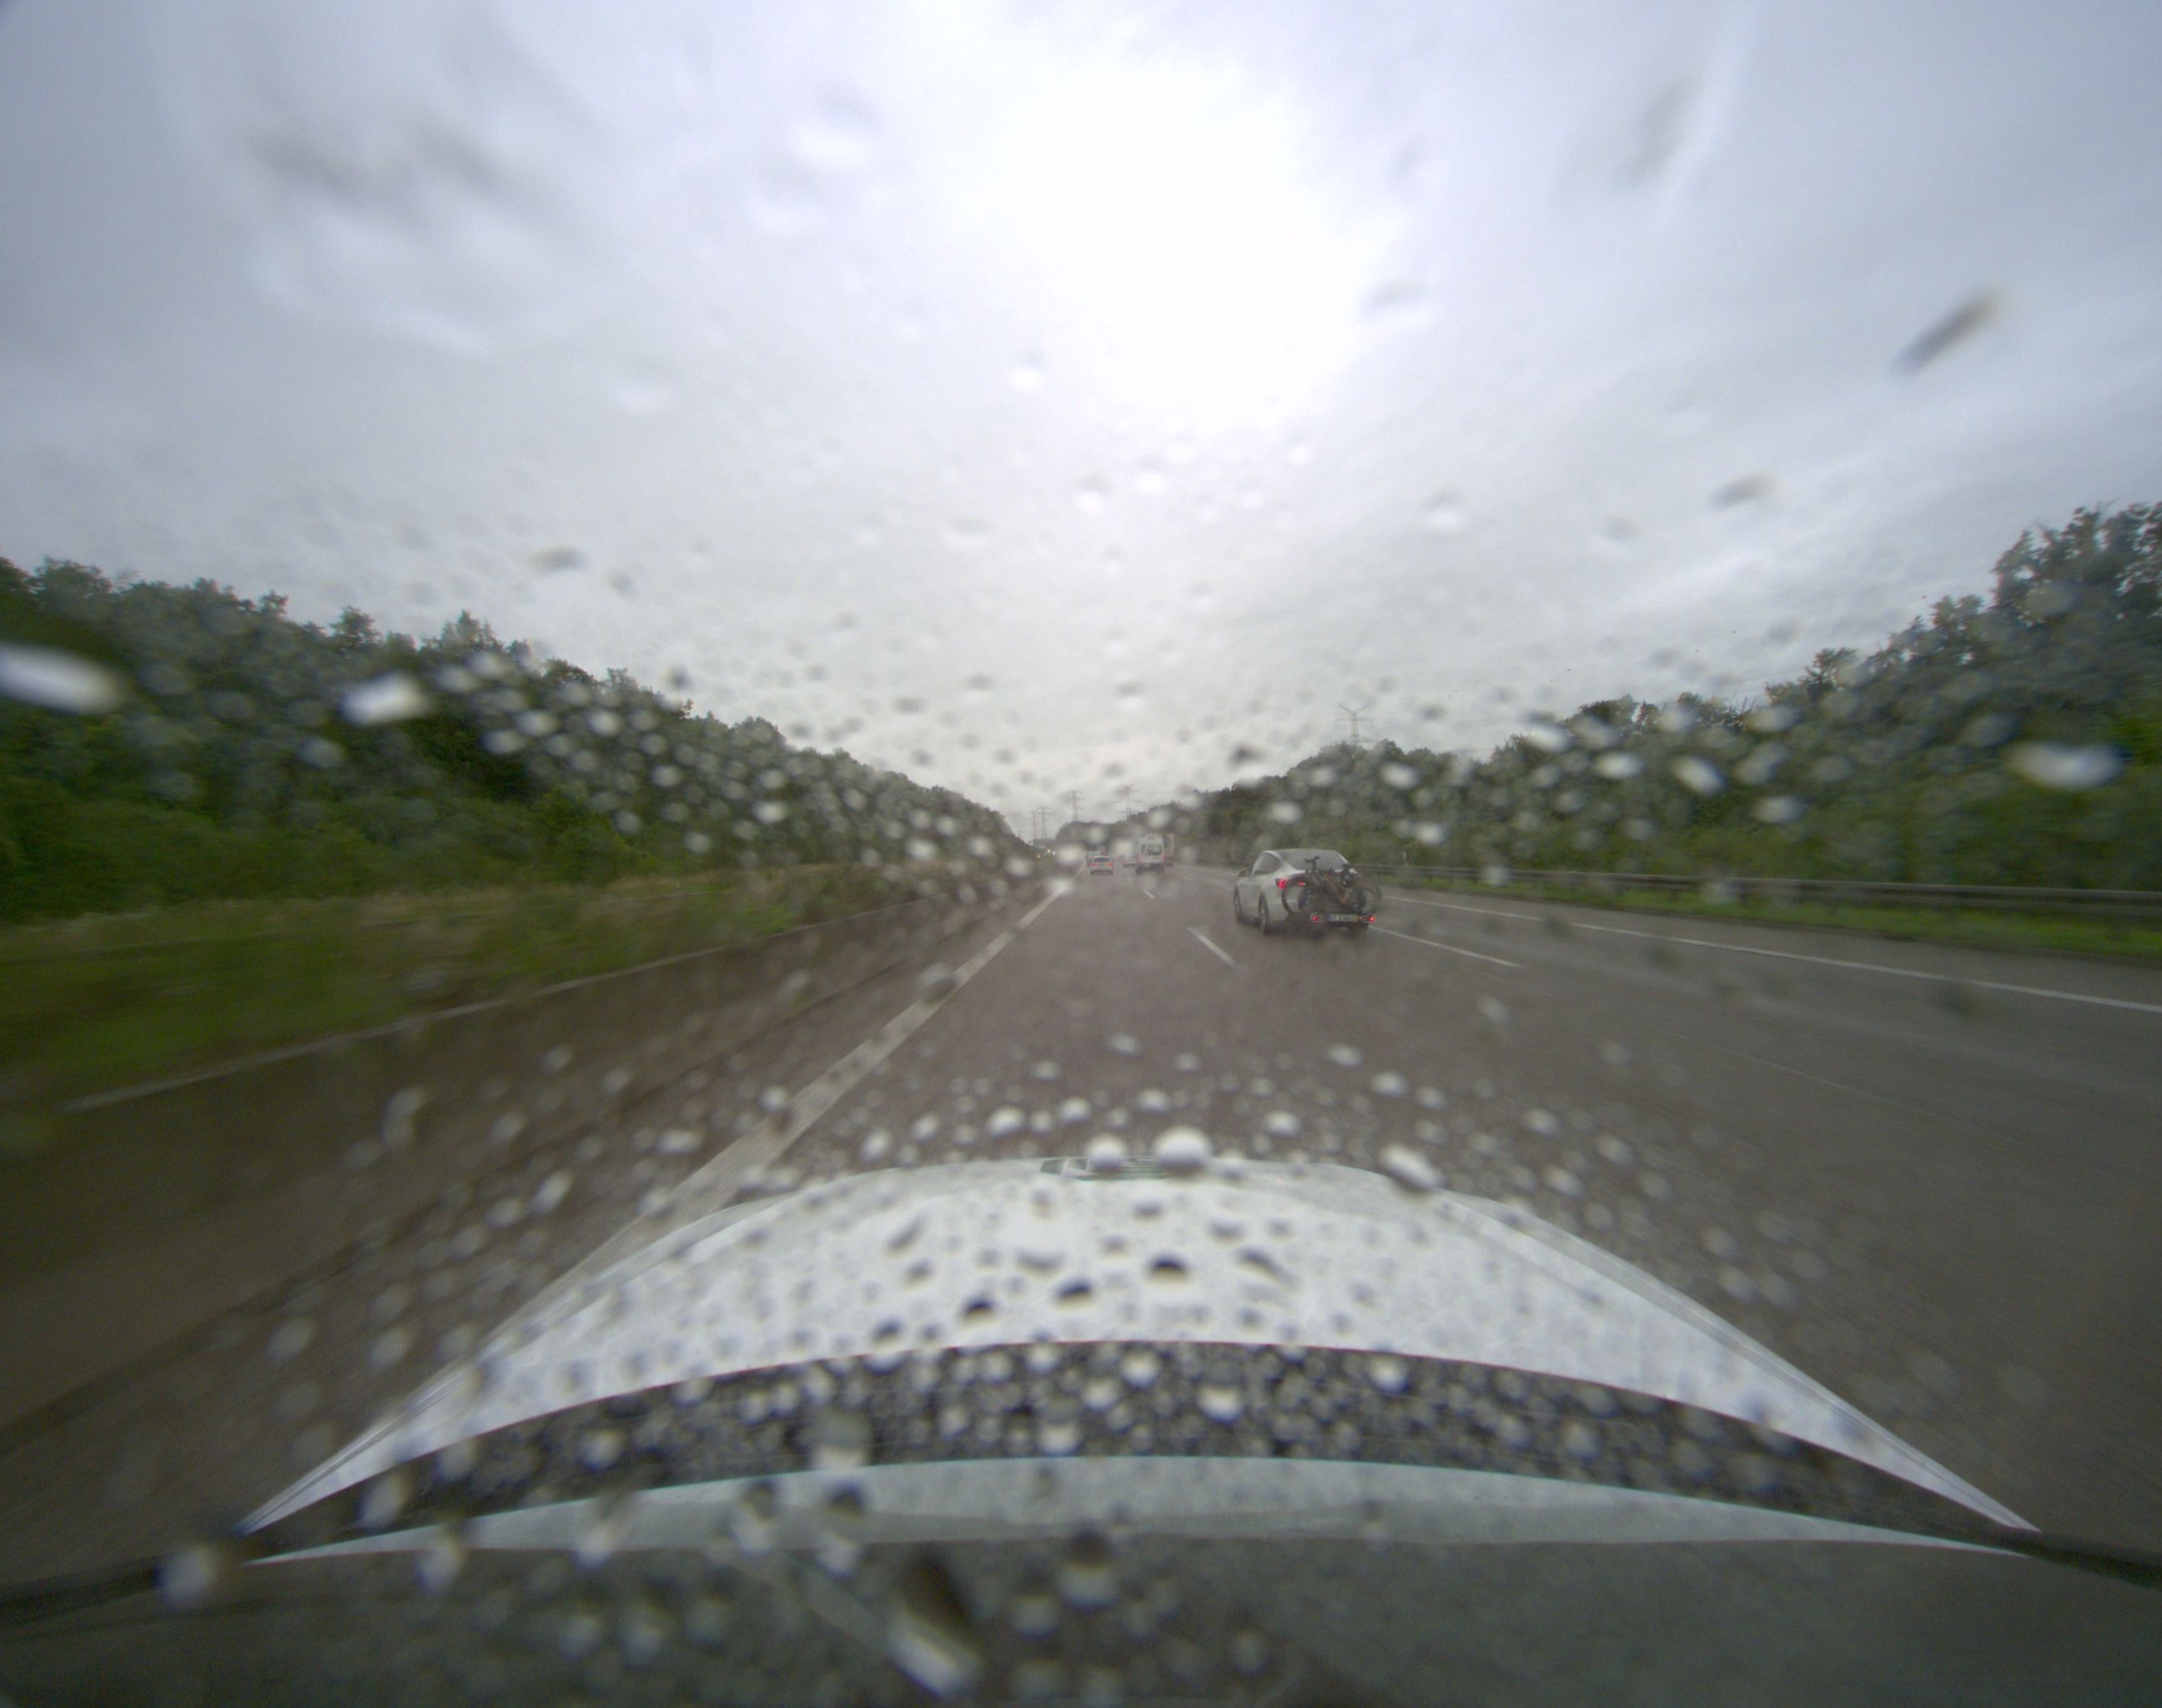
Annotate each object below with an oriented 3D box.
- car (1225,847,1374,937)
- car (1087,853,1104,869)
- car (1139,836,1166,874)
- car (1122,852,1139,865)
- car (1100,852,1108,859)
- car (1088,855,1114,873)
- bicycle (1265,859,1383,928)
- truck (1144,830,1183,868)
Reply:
[{"bbox_3d":[4.306,0.672,16.897,1.853,1.568,4.965,-1,0,1],"label":"car"},{"bbox_3d":[1.673,0.788,95.196,1.839,1.772,4.002,-2,0,2],"label":"car"},{"bbox_3d":[5.495,0.121,62.859,1.985,2.864,4.003,0,-1,3],"label":"car"},{"bbox_3d":[5.739,0.516,94.162,1.849,1.422,4.003,-1,0,3],"label":"car"},{"bbox_3d":[6.106,0.343,216.343,1.986,1.574,4.002,-3,-1,2],"label":"car"},{"bbox_3d":[1.568,0.779,62.831,1.859,1.288,4.002,-2,0,2],"label":"car"},{"bbox_3d":[4.115,0.663,13.923,1.746,1.090,0.914,-1,-1,2],"label":"bicycle"},{"bbox_3d":[10.172,-0.607,102.146,3.591,4.332,13.200,-2,0,1],"label":"truck"}]
